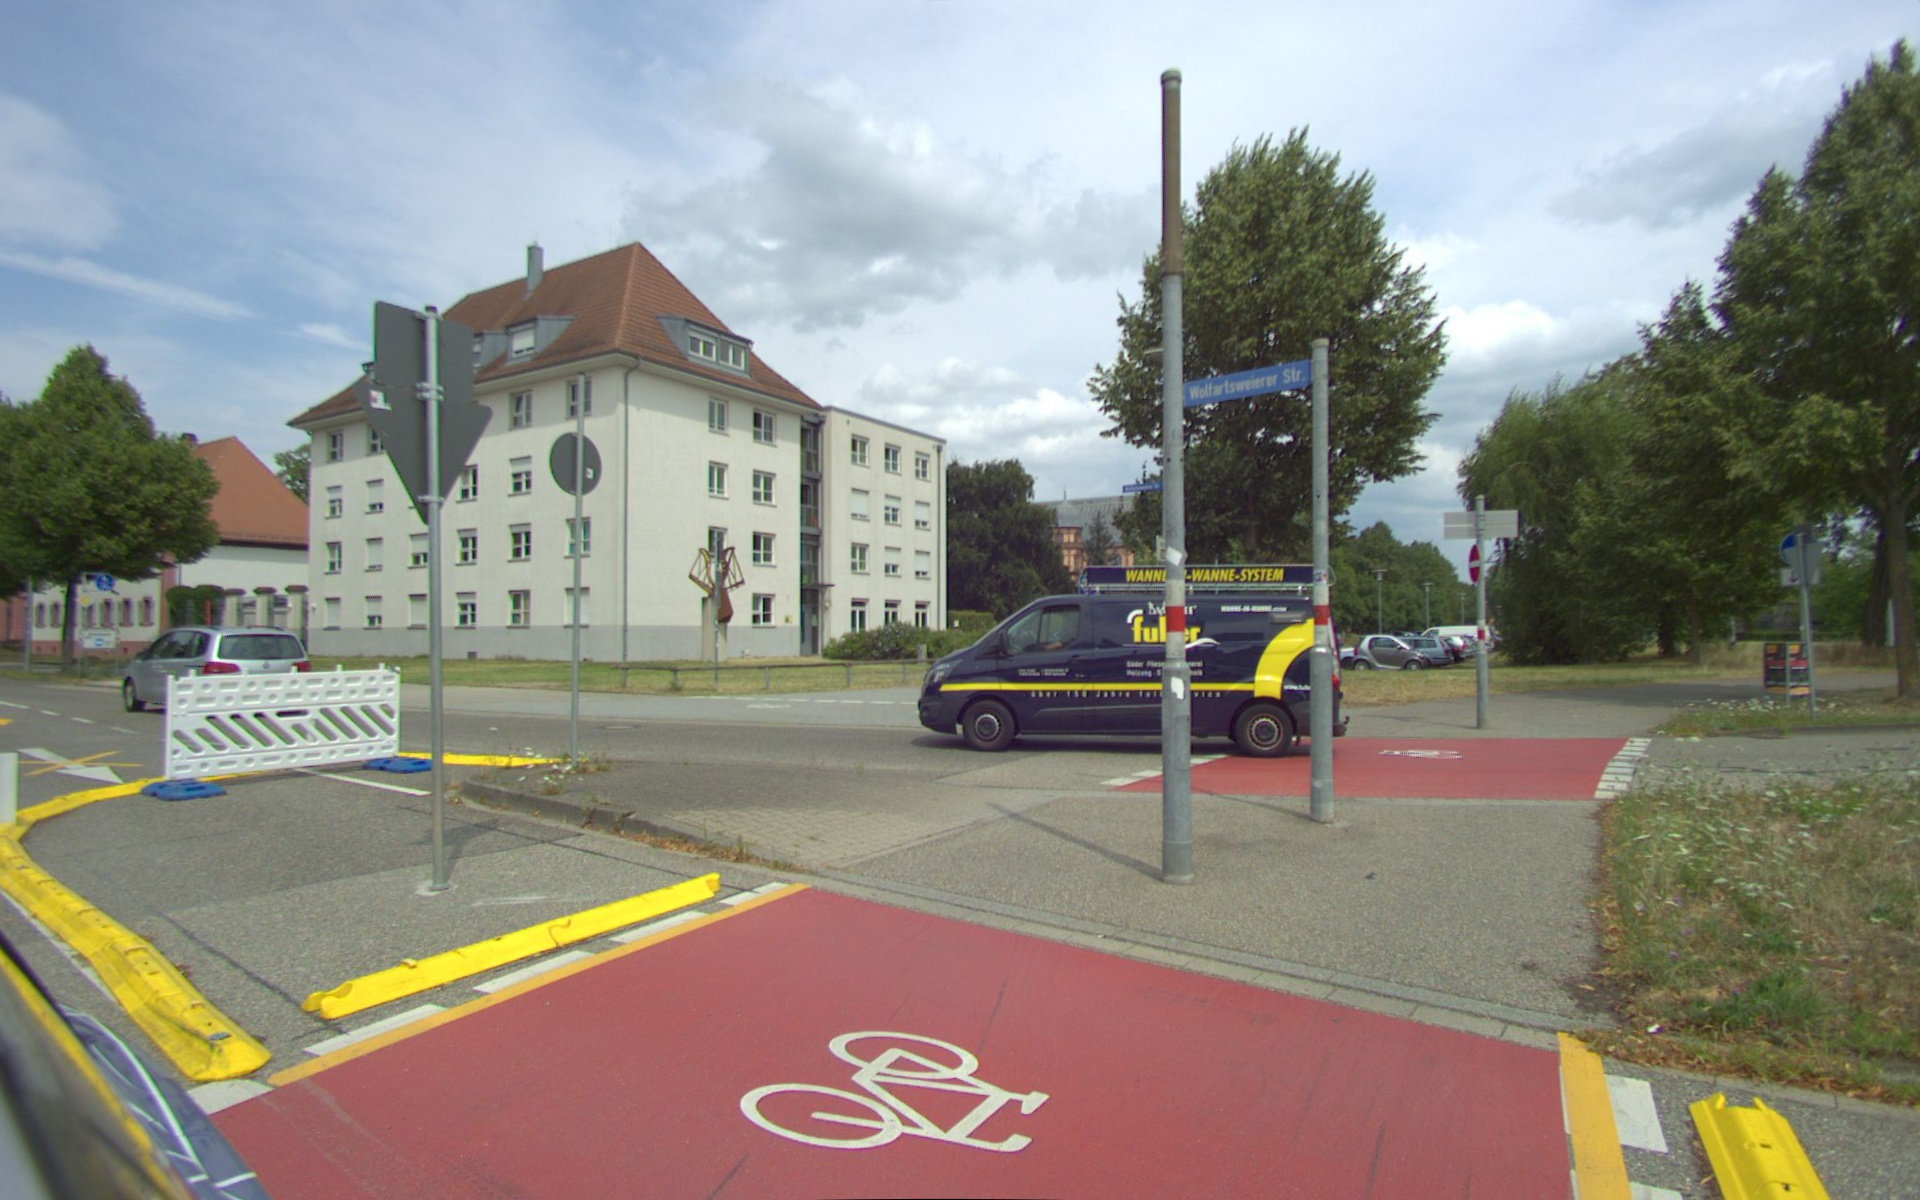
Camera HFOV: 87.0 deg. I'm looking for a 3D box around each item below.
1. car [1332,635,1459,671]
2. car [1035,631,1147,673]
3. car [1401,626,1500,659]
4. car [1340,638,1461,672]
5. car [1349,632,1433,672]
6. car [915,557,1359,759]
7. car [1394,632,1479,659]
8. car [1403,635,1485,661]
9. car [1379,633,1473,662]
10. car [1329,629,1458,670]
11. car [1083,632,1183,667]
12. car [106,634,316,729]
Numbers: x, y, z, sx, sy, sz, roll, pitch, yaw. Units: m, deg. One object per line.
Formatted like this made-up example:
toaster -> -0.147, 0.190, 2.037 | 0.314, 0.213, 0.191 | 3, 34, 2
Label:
car -> 18.978, 2.282, 44.160 | 4.873, 1.482, 1.813 | -1, -2, 33
car -> 5.736, 2.257, 44.522 | 4.484, 1.778, 1.979 | -1, -2, 31
car -> 31.678, 2.718, 65.408 | 5.548, 2.072, 2.178 | -1, -2, 30
car -> 20.101, 2.491, 46.256 | 4.873, 1.482, 1.813 | -1, -2, 33
car -> 16.765, 2.043, 39.359 | 2.900, 1.434, 1.471 | -4, -4, 26
car -> 2.116, 0.725, 12.867 | 5.099, 2.290, 1.995 | -1, -2, 8
car -> 27.723, 2.628, 58.918 | 4.298, 1.482, 1.813 | -1, -2, 32
car -> 29.173, 2.889, 61.067 | 4.298, 1.482, 1.813 | -1, -2, 32
car -> 25.064, 2.546, 54.502 | 4.373, 1.482, 1.813 | -1, -2, 33
car -> 17.817, 2.058, 41.662 | 4.687, 1.482, 1.815 | -4, -3, 30
car -> 8.388, 2.379, 49.278 | 4.394, 1.610, 1.977 | -2, -2, 33
car -> -14.509, 1.497, 19.528 | 4.735, 1.635, 1.781 | -2, -2, 34
